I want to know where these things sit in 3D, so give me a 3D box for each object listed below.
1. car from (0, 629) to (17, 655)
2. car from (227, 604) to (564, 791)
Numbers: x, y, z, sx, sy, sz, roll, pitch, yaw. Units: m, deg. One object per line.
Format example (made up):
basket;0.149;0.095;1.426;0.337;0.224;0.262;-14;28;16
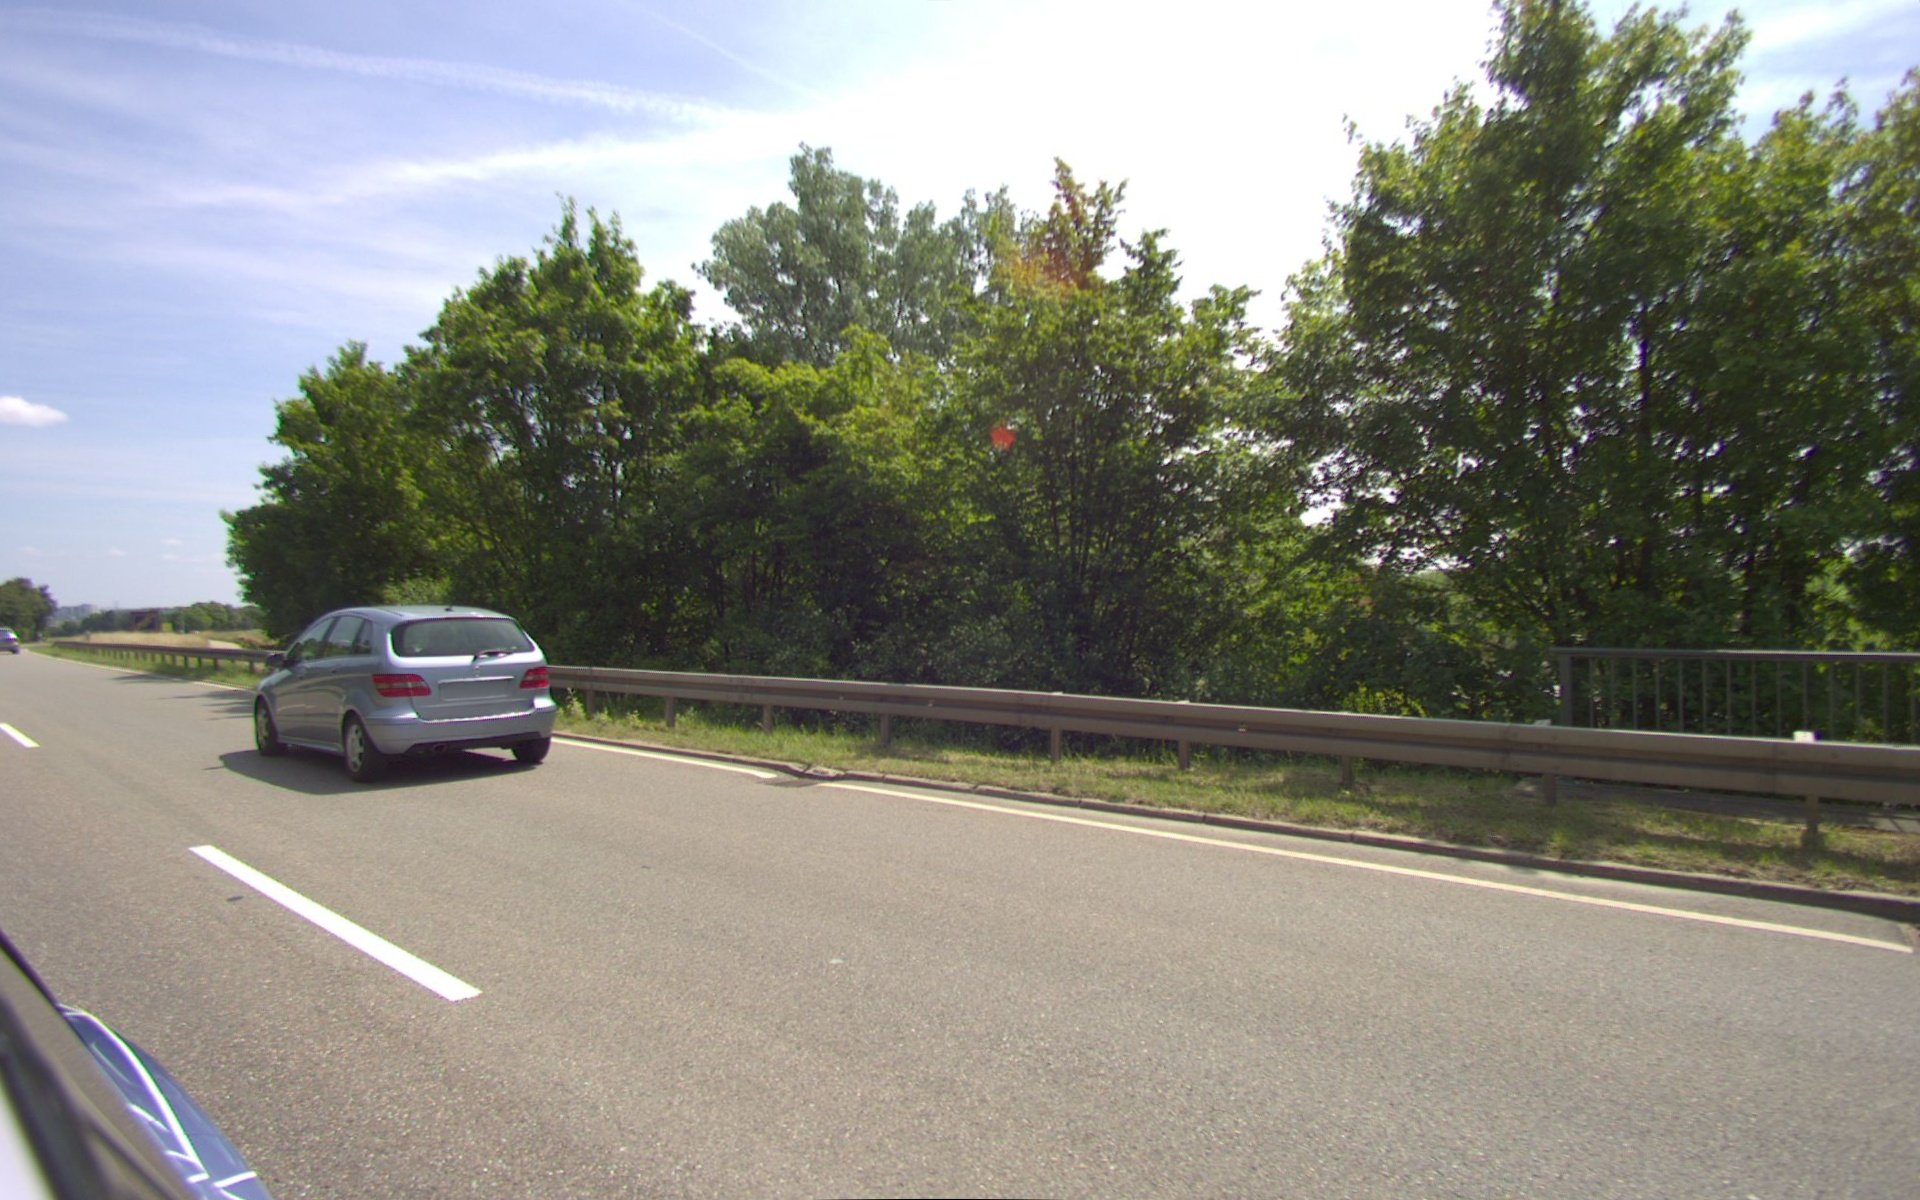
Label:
car;-55.543;2.405;58.326;1.723;1.478;5.133;1;-2;-42
car;-5.982;0.866;10.505;4.334;1.563;1.643;-2;-2;40
